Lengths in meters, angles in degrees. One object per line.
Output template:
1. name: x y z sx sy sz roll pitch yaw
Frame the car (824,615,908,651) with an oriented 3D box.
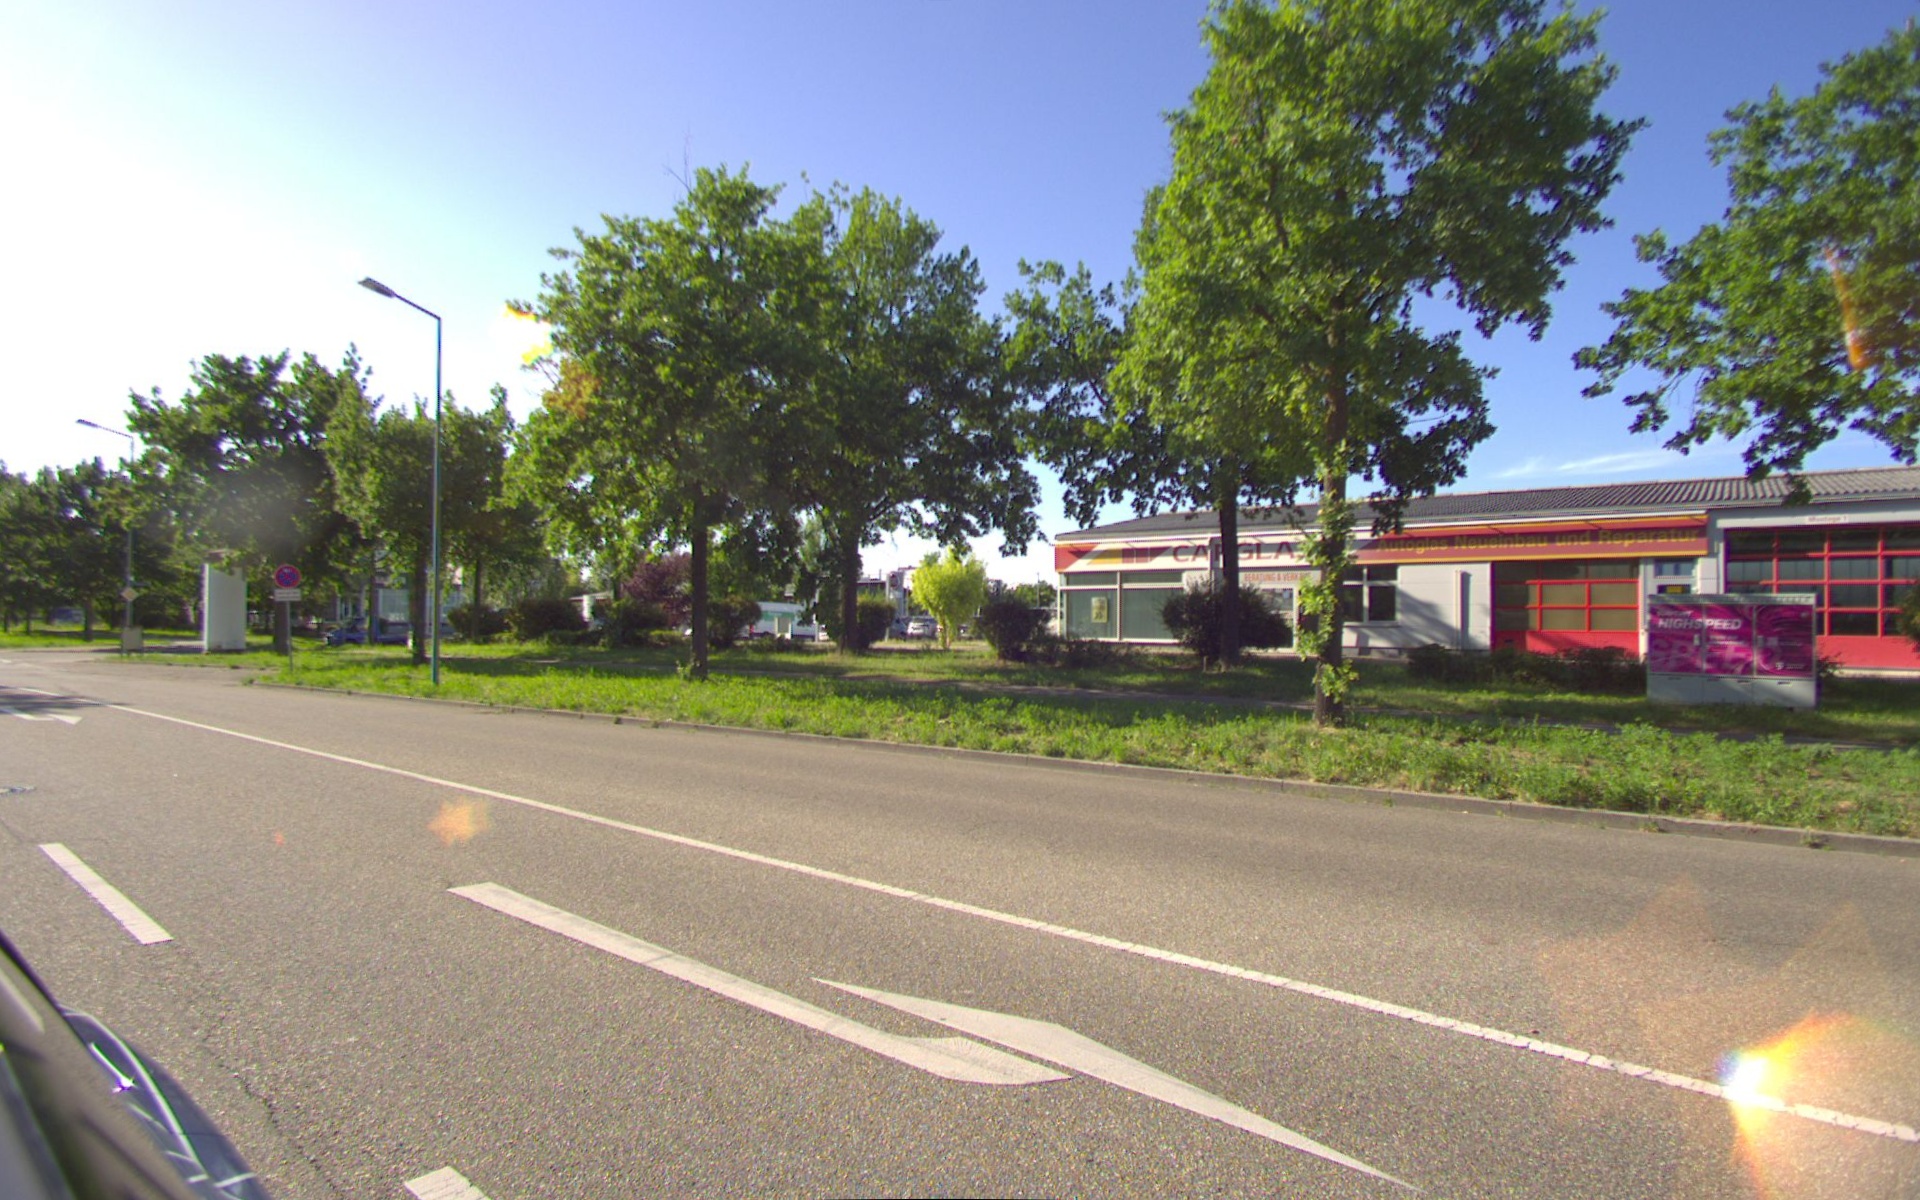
1. car: -5.135 1.756 55.791 1.989 1.795 4.583 -1 0 40

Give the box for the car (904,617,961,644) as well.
1. car: -1.859 2.036 68.625 1.761 1.684 3.811 -1 0 40

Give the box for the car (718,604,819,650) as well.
1. car: -11.441 1.586 61.003 2.406 2.574 5.952 -1 0 36

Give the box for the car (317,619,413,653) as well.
1. car: -35.960 2.148 61.241 1.999 1.847 4.578 -1 0 41

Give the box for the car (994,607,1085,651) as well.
1. car: 3.221 1.146 40.605 1.734 1.583 3.769 -3 -1 40
